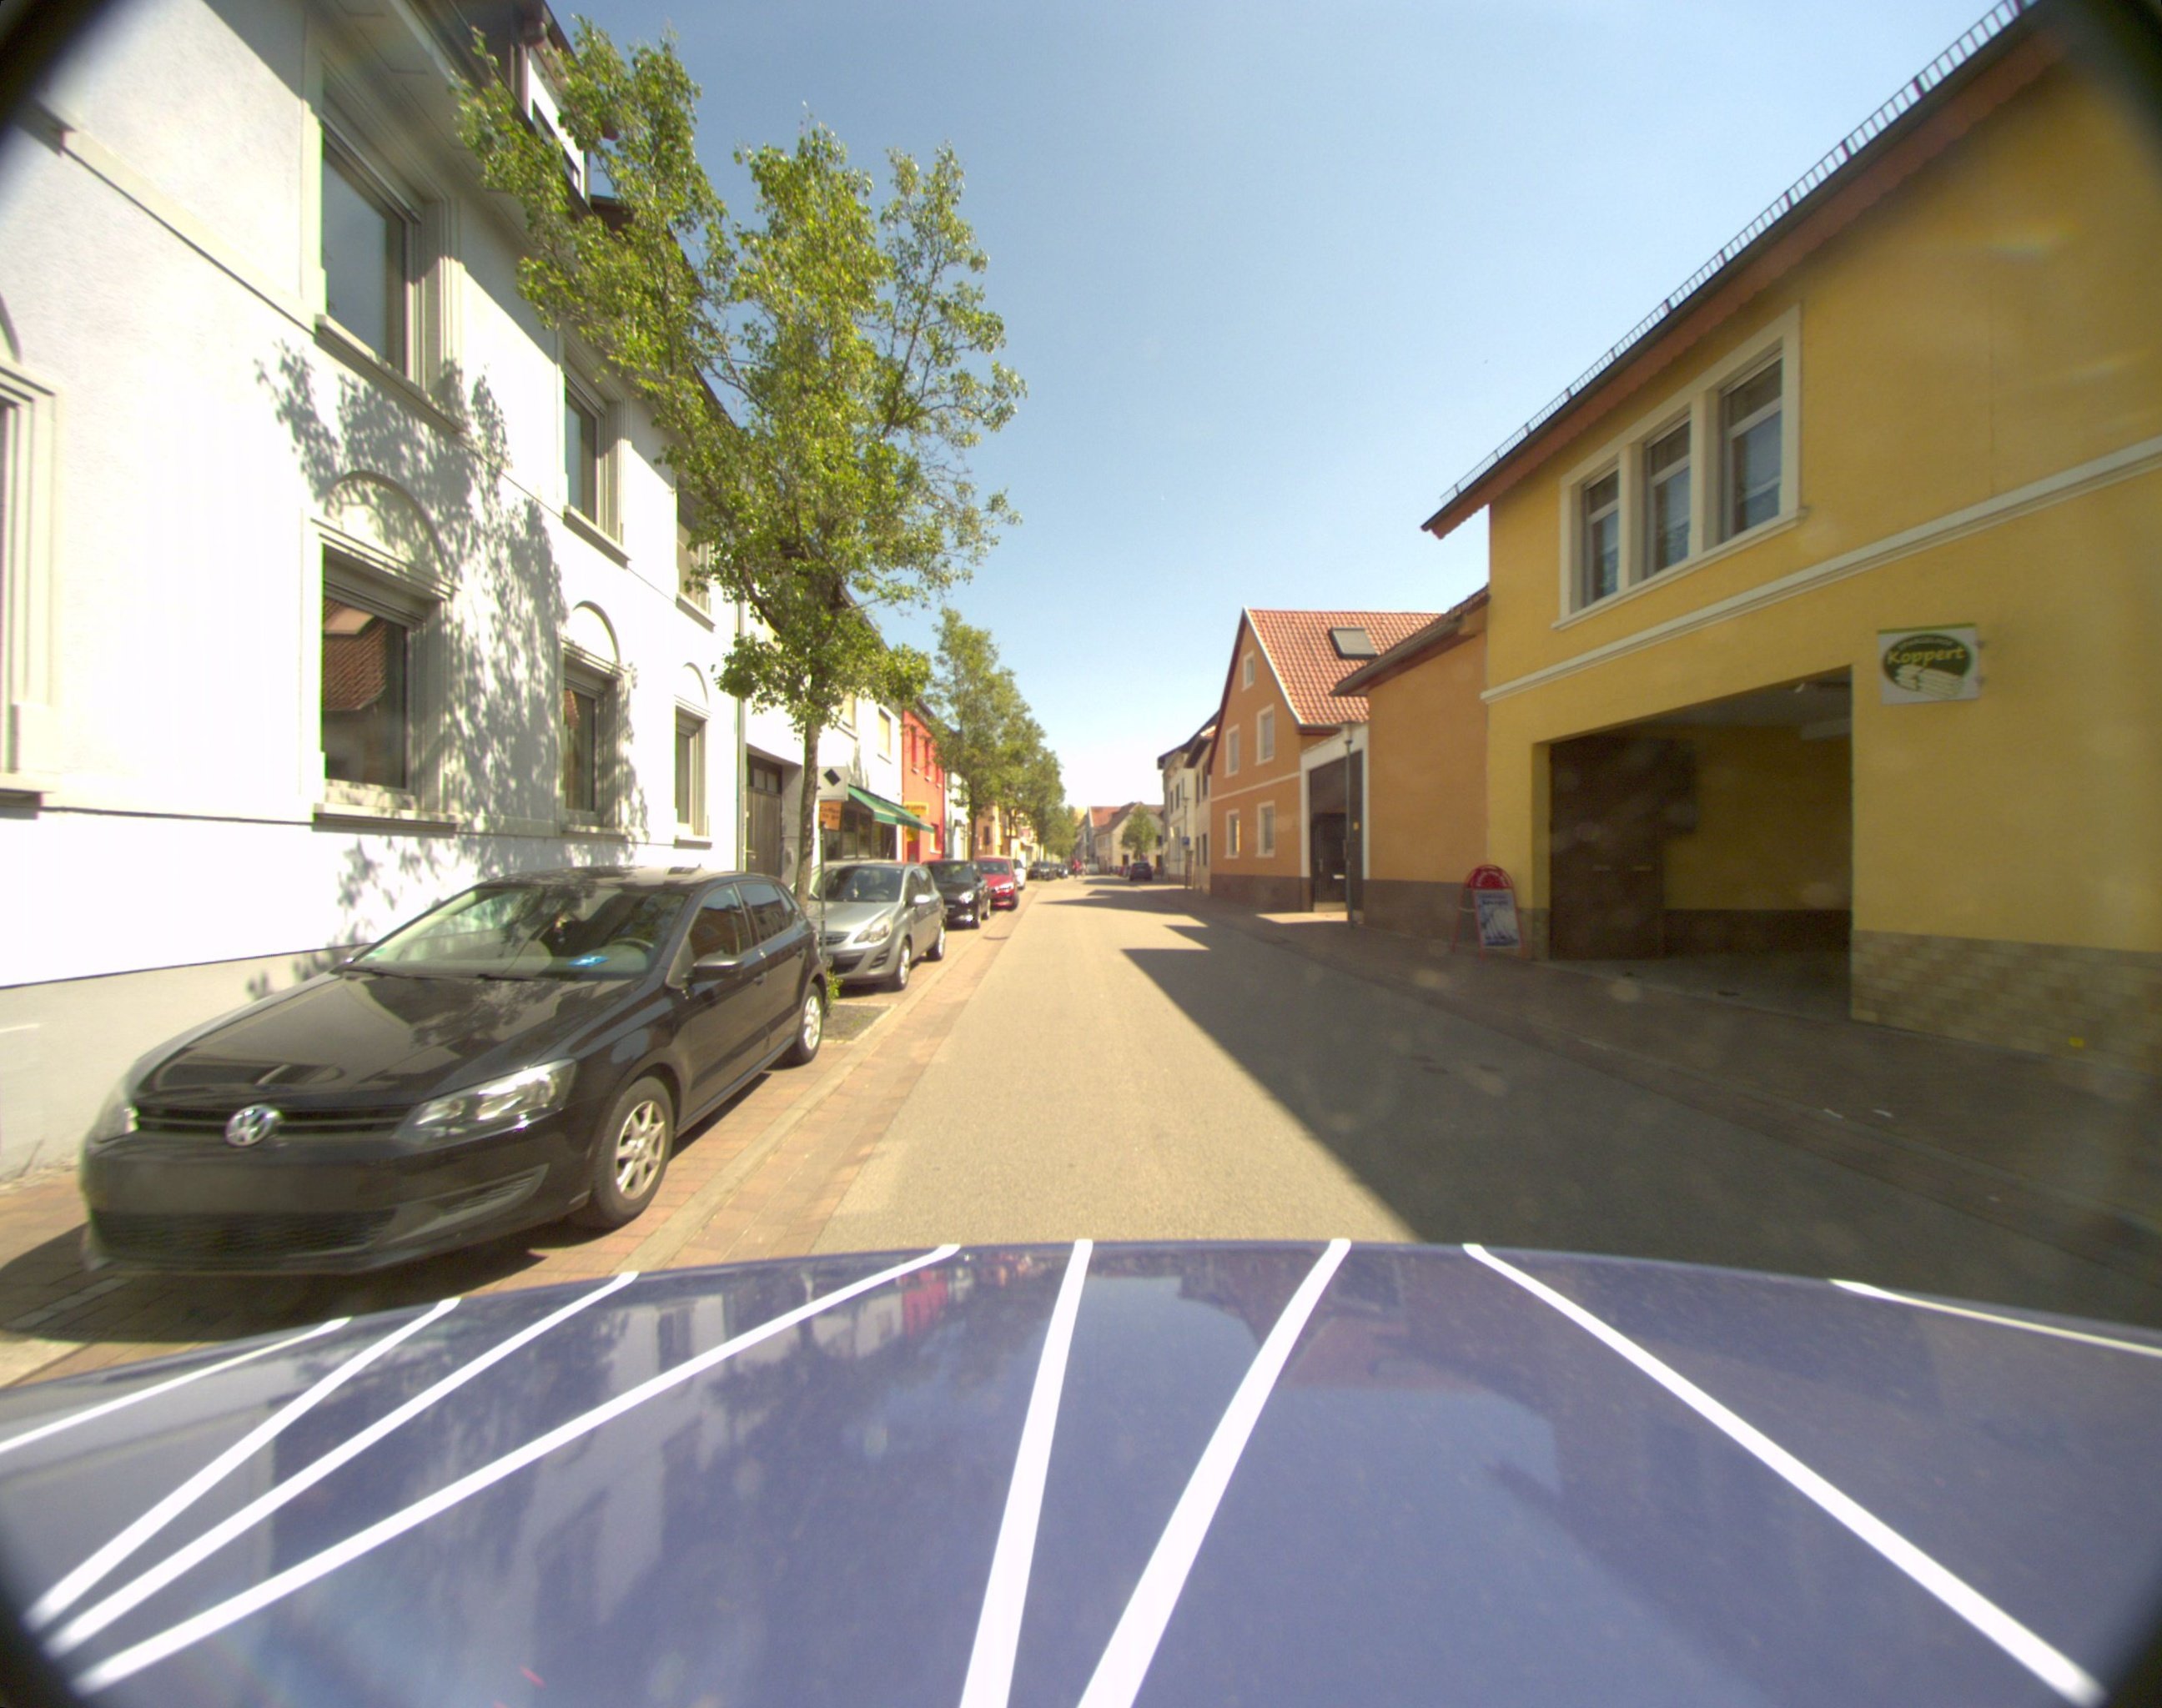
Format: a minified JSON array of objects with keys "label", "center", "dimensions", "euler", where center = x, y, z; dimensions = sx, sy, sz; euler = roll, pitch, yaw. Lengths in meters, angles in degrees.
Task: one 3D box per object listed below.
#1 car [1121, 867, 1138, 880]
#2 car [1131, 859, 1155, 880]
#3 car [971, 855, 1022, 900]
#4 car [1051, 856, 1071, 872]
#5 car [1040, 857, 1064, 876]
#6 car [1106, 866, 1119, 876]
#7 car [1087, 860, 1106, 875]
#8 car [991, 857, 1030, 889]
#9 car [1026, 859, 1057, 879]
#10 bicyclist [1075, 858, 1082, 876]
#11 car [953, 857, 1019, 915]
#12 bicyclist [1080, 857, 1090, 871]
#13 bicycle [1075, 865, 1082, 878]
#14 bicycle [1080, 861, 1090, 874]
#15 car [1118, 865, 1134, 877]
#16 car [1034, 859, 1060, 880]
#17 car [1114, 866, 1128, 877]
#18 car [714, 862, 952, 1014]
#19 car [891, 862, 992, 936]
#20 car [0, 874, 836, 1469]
[{"label":"car","center":[5.881,2.412,92.518],"dimensions":[1.572,1.452,3.802],"euler":[2,-2,-2]},{"label":"car","center":[5.021,1.259,61.721],"dimensions":[1.863,1.620,4.049],"euler":[0,0,4]},{"label":"car","center":[-3.505,0.918,32.283],"dimensions":[1.872,1.675,4.659],"euler":[-2,1,-3]},{"label":"car","center":[-2.180,1.068,83.619],"dimensions":[1.998,1.759,4.109],"euler":[0,0,2]},{"label":"car","center":[-2.810,1.207,74.771],"dimensions":[1.998,1.759,4.109],"euler":[0,0,2]},{"label":"car","center":[4.715,2.552,114.381],"dimensions":[1.572,1.452,3.800],"euler":[0,0,-4]},{"label":"car","center":[2.492,2.207,124.675],"dimensions":[2.443,2.223,4.959],"euler":[-3,0,-5]},{"label":"car","center":[-3.538,0.933,38.454],"dimensions":[1.715,1.534,3.997],"euler":[1,-1,-2]},{"label":"car","center":[-3.192,1.201,61.786],"dimensions":[1.928,1.594,4.110],"euler":[0,0,6]},{"label":"bicyclist","center":[-0.279,1.329,76.202],"dimensions":[0.645,1.766,0.722],"euler":[2,-1,1]},{"label":"car","center":[-2.877,0.930,23.714],"dimensions":[1.834,1.579,4.086],"euler":[-1,0,-5]},{"label":"bicyclist","center":[0.455,1.106,84.302],"dimensions":[1.028,1.635,1.025],"euler":[0,0,2]},{"label":"bicycle","center":[-0.294,1.734,76.163],"dimensions":[0.635,1.227,1.894],"euler":[2,-2,1]},{"label":"bicycle","center":[0.467,1.480,84.363],"dimensions":[0.960,1.363,2.406],"euler":[0,0,2]},{"label":"car","center":[5.797,2.170,98.799],"dimensions":[1.572,1.452,3.800],"euler":[0,0,-4]},{"label":"car","center":[-2.974,1.388,68.151],"dimensions":[1.998,1.759,4.109],"euler":[1,-1,2]},{"label":"car","center":[5.556,2.385,106.131],"dimensions":[1.572,1.452,3.800],"euler":[0,0,-4]},{"label":"car","center":[-2.866,0.872,9.763],"dimensions":[1.722,1.472,4.095],"euler":[1,0,-1]},{"label":"car","center":[-3.060,0.942,17.355],"dimensions":[1.741,1.504,3.735],"euler":[1,-1,-2]},{"label":"car","center":[-2.715,0.911,3.986],"dimensions":[1.708,1.472,3.921],"euler":[2,0,-3]}]
